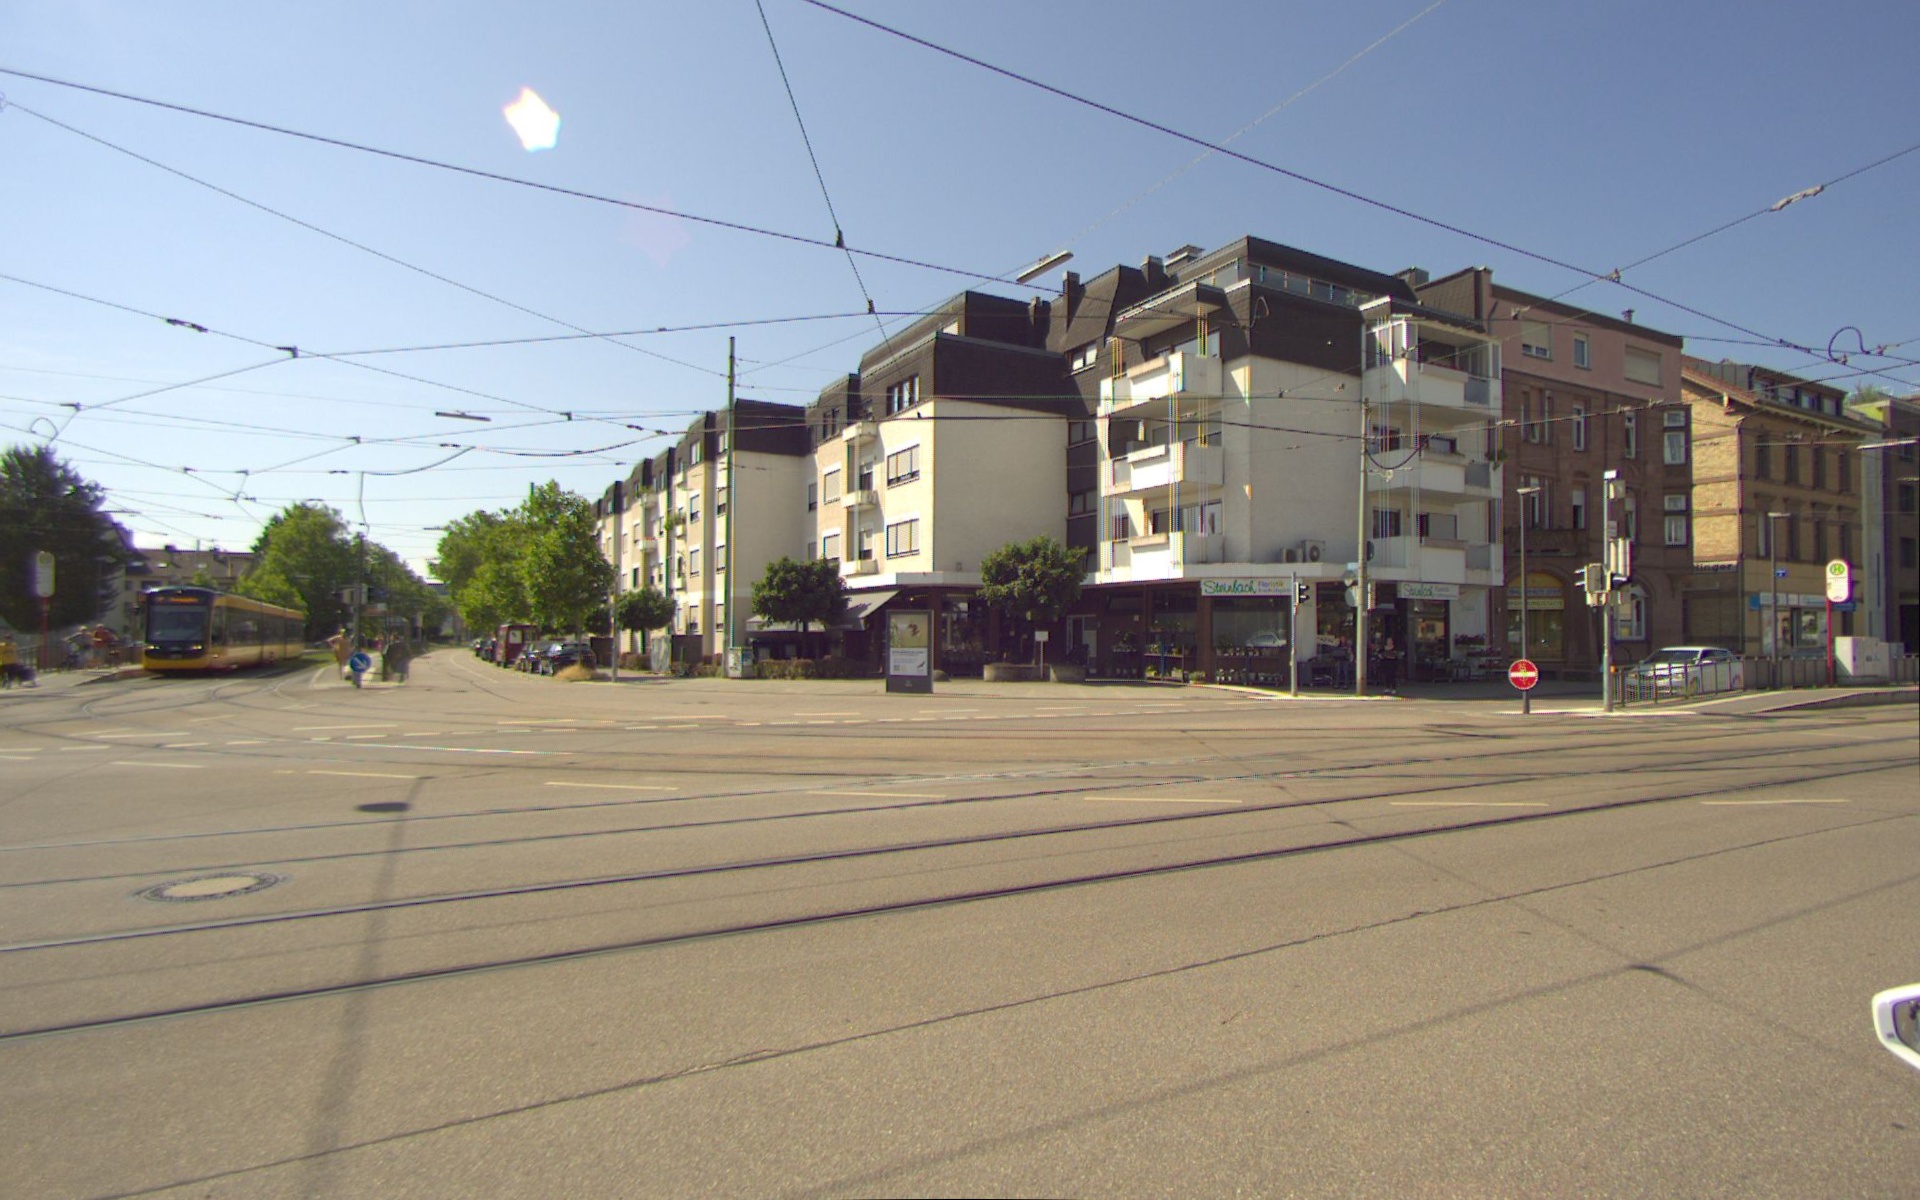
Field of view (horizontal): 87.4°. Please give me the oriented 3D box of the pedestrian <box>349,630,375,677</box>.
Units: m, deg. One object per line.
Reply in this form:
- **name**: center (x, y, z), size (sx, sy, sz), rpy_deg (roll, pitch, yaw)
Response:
- **pedestrian**: center (-22.984, 2.057, 38.614), size (0.753, 1.783, 0.807), rpy_deg (1, -2, -24)

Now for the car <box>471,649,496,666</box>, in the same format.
- **car**: center (-43.876, 5.303, 92.363), size (1.806, 1.520, 3.970), rpy_deg (1, -3, -29)

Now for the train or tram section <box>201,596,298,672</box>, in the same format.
- **train or tram section**: center (-38.970, 1.968, 55.578), size (2.735, 3.706, 13.806), rpy_deg (1, -3, -29)

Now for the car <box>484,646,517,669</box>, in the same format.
- **car**: center (-32.262, 4.001, 70.498), size (1.806, 1.520, 3.970), rpy_deg (1, -3, -29)

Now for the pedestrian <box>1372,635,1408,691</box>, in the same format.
- **pedestrian**: center (12.967, 1.894, 30.285), size (0.866, 1.669, 0.679), rpy_deg (-1, -3, 33)

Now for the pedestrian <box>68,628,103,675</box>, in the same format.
- **pedestrian**: center (-31.400, 1.843, 36.076), size (0.775, 1.648, 0.655), rpy_deg (1, -3, -29)

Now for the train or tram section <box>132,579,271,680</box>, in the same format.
- **train or tram section**: center (-32.344, 1.369, 43.462), size (2.735, 3.706, 13.806), rpy_deg (1, -3, -29)

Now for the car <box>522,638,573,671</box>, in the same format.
- **car**: center (-19.763, 2.591, 48.056), size (1.806, 1.520, 3.970), rpy_deg (1, -3, -29)

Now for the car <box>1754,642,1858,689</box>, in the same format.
- **car**: center (27.850, 2.124, 33.053), size (3.773, 1.478, 1.564), rpy_deg (1, -3, -33)

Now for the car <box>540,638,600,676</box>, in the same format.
- **car**: center (-16.675, 2.412, 42.829), size (1.806, 1.520, 4.155), rpy_deg (1, -3, -29)

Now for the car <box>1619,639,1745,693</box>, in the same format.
- **car**: center (21.135, 1.899, 29.376), size (3.917, 1.450, 1.618), rpy_deg (2, -2, -31)

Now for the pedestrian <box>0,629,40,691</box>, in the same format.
- **pedestrian**: center (-29.029, 1.827, 30.806), size (0.885, 1.861, 1.193), rpy_deg (1, -3, -28)

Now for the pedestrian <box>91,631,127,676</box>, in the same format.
- **pedestrian**: center (-32.610, 2.035, 38.489), size (0.803, 1.702, 1.086), rpy_deg (1, -3, -28)

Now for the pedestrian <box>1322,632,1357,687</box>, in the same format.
- **pedestrian**: center (11.729, 1.836, 31.055), size (0.723, 1.669, 0.675), rpy_deg (1, -2, -30)

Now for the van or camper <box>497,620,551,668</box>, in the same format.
- **van or camper**: center (-25.259, 2.528, 58.076), size (2.348, 2.659, 4.854), rpy_deg (1, -3, -30)

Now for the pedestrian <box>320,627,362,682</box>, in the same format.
- **pedestrian**: center (-21.550, 1.900, 34.996), size (1.109, 1.860, 1.429), rpy_deg (1, -3, -28)
